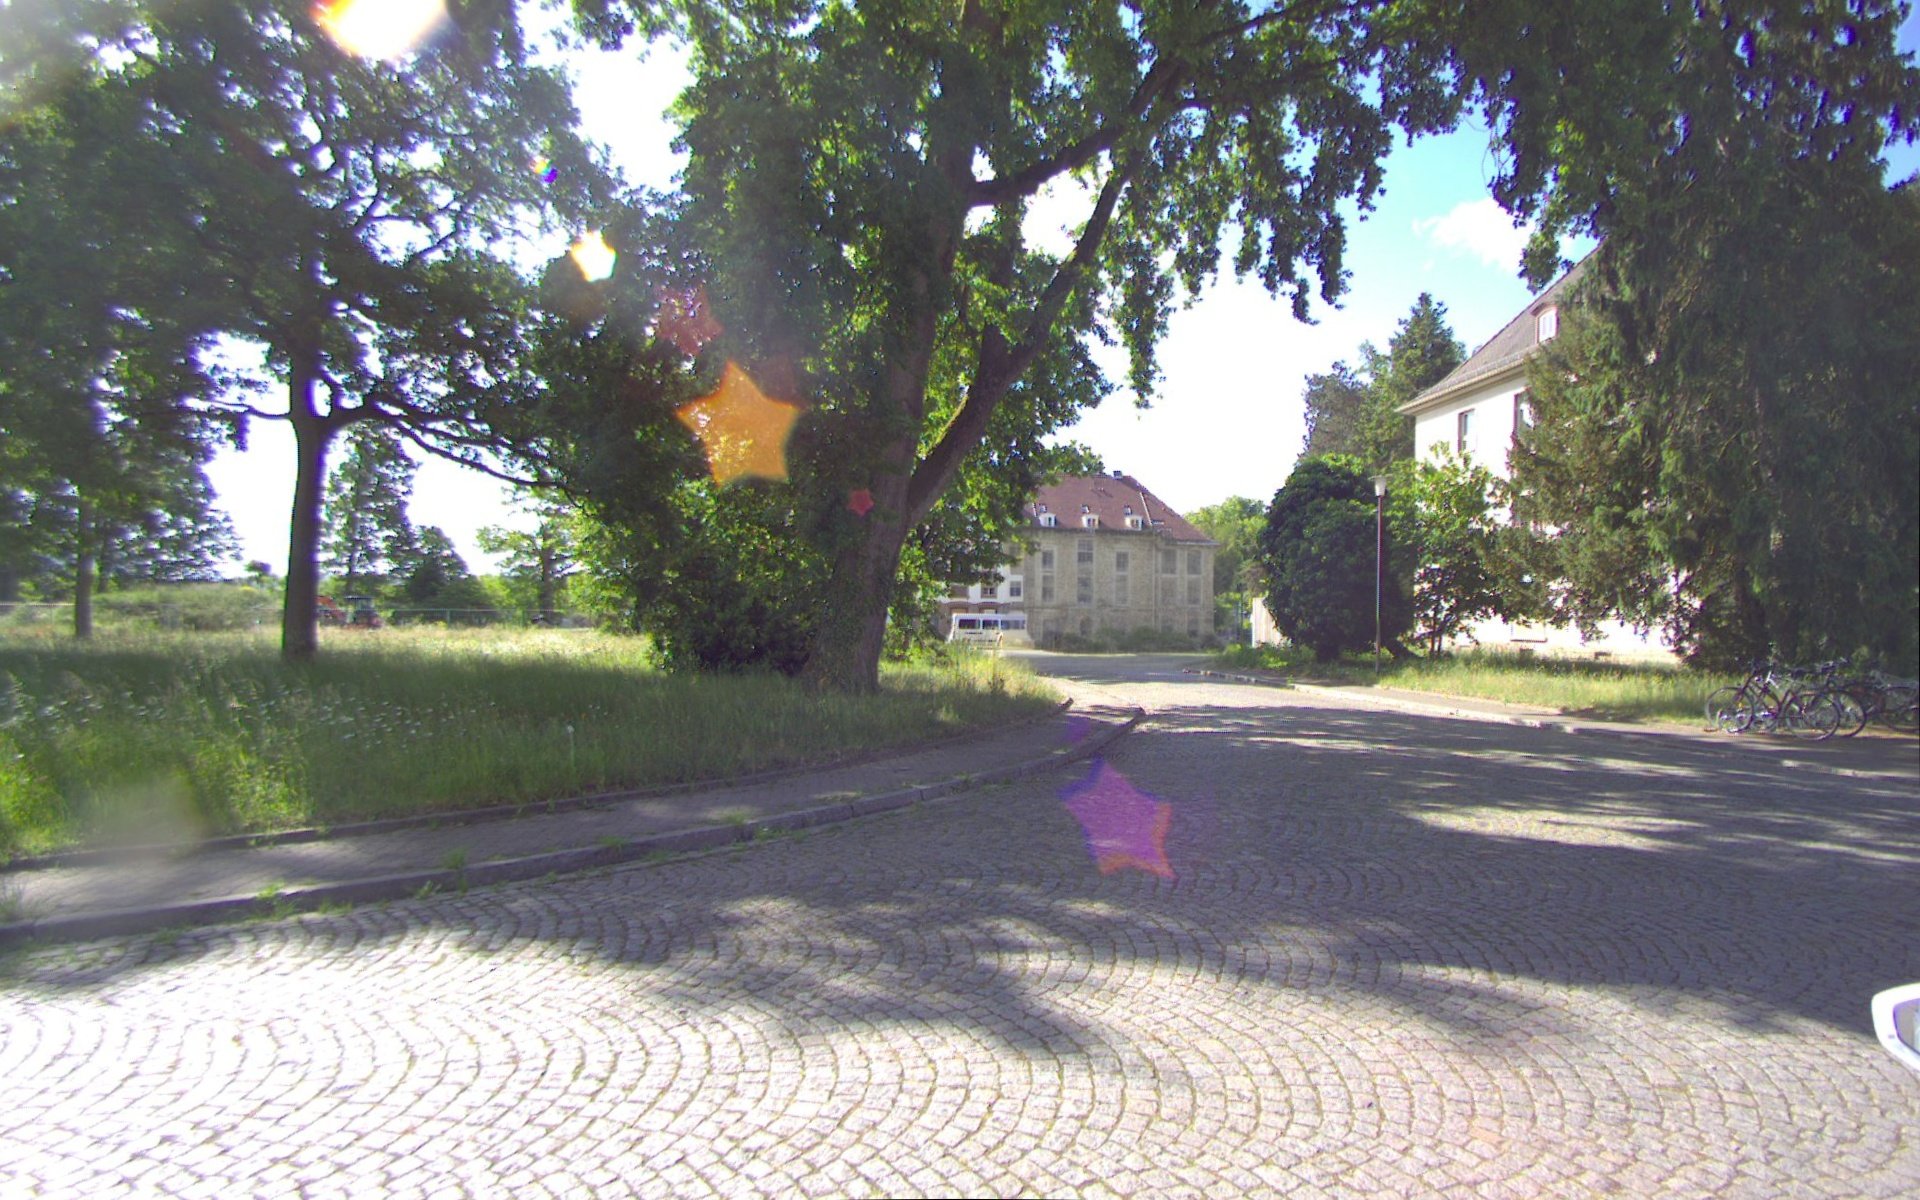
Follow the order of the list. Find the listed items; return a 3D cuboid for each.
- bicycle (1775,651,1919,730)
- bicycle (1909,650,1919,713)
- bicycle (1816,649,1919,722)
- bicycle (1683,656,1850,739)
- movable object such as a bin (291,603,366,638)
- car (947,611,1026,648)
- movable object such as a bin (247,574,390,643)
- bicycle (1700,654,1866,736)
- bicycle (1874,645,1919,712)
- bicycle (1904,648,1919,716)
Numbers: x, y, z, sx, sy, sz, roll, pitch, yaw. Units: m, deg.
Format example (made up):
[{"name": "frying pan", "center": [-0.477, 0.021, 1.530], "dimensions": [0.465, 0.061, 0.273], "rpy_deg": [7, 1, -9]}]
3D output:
[{"name": "bicycle", "center": [14.284, 1.413, 16.026], "dimensions": [0.564, 1.117, 1.902], "rpy_deg": [-1, 0, -32]}, {"name": "bicycle", "center": [17.945, 1.472, 17.557], "dimensions": [0.563, 1.117, 1.905], "rpy_deg": [-1, 0, -28]}, {"name": "bicycle", "center": [15.511, 1.413, 16.678], "dimensions": [0.564, 1.117, 1.902], "rpy_deg": [-1, 0, -32]}, {"name": "bicycle", "center": [12.222, 1.442, 15.288], "dimensions": [0.563, 1.117, 1.905], "rpy_deg": [-1, -1, -29]}, {"name": "movable object such as a bin", "center": [-40.160, 1.313, 63.853], "dimensions": [5.596, 2.153, 2.516], "rpy_deg": [0, -2, 41]}, {"name": "car", "center": [1.781, 2.023, 68.804], "dimensions": [5.176, 2.469, 1.989], "rpy_deg": [1, -1, -5]}, {"name": "movable object such as a bin", "center": [-37.347, 0.574, 58.890], "dimensions": [6.709, 3.780, 3.901], "rpy_deg": [2, -2, -29]}, {"name": "bicycle", "center": [12.688, 1.435, 15.549], "dimensions": [0.563, 1.117, 1.905], "rpy_deg": [-1, -1, -29]}, {"name": "bicycle", "center": [17.039, 1.375, 17.259], "dimensions": [0.562, 1.117, 1.908], "rpy_deg": [-1, 0, -23]}, {"name": "bicycle", "center": [16.612, 1.383, 16.241], "dimensions": [0.562, 1.117, 1.908], "rpy_deg": [-1, 0, -23]}]
